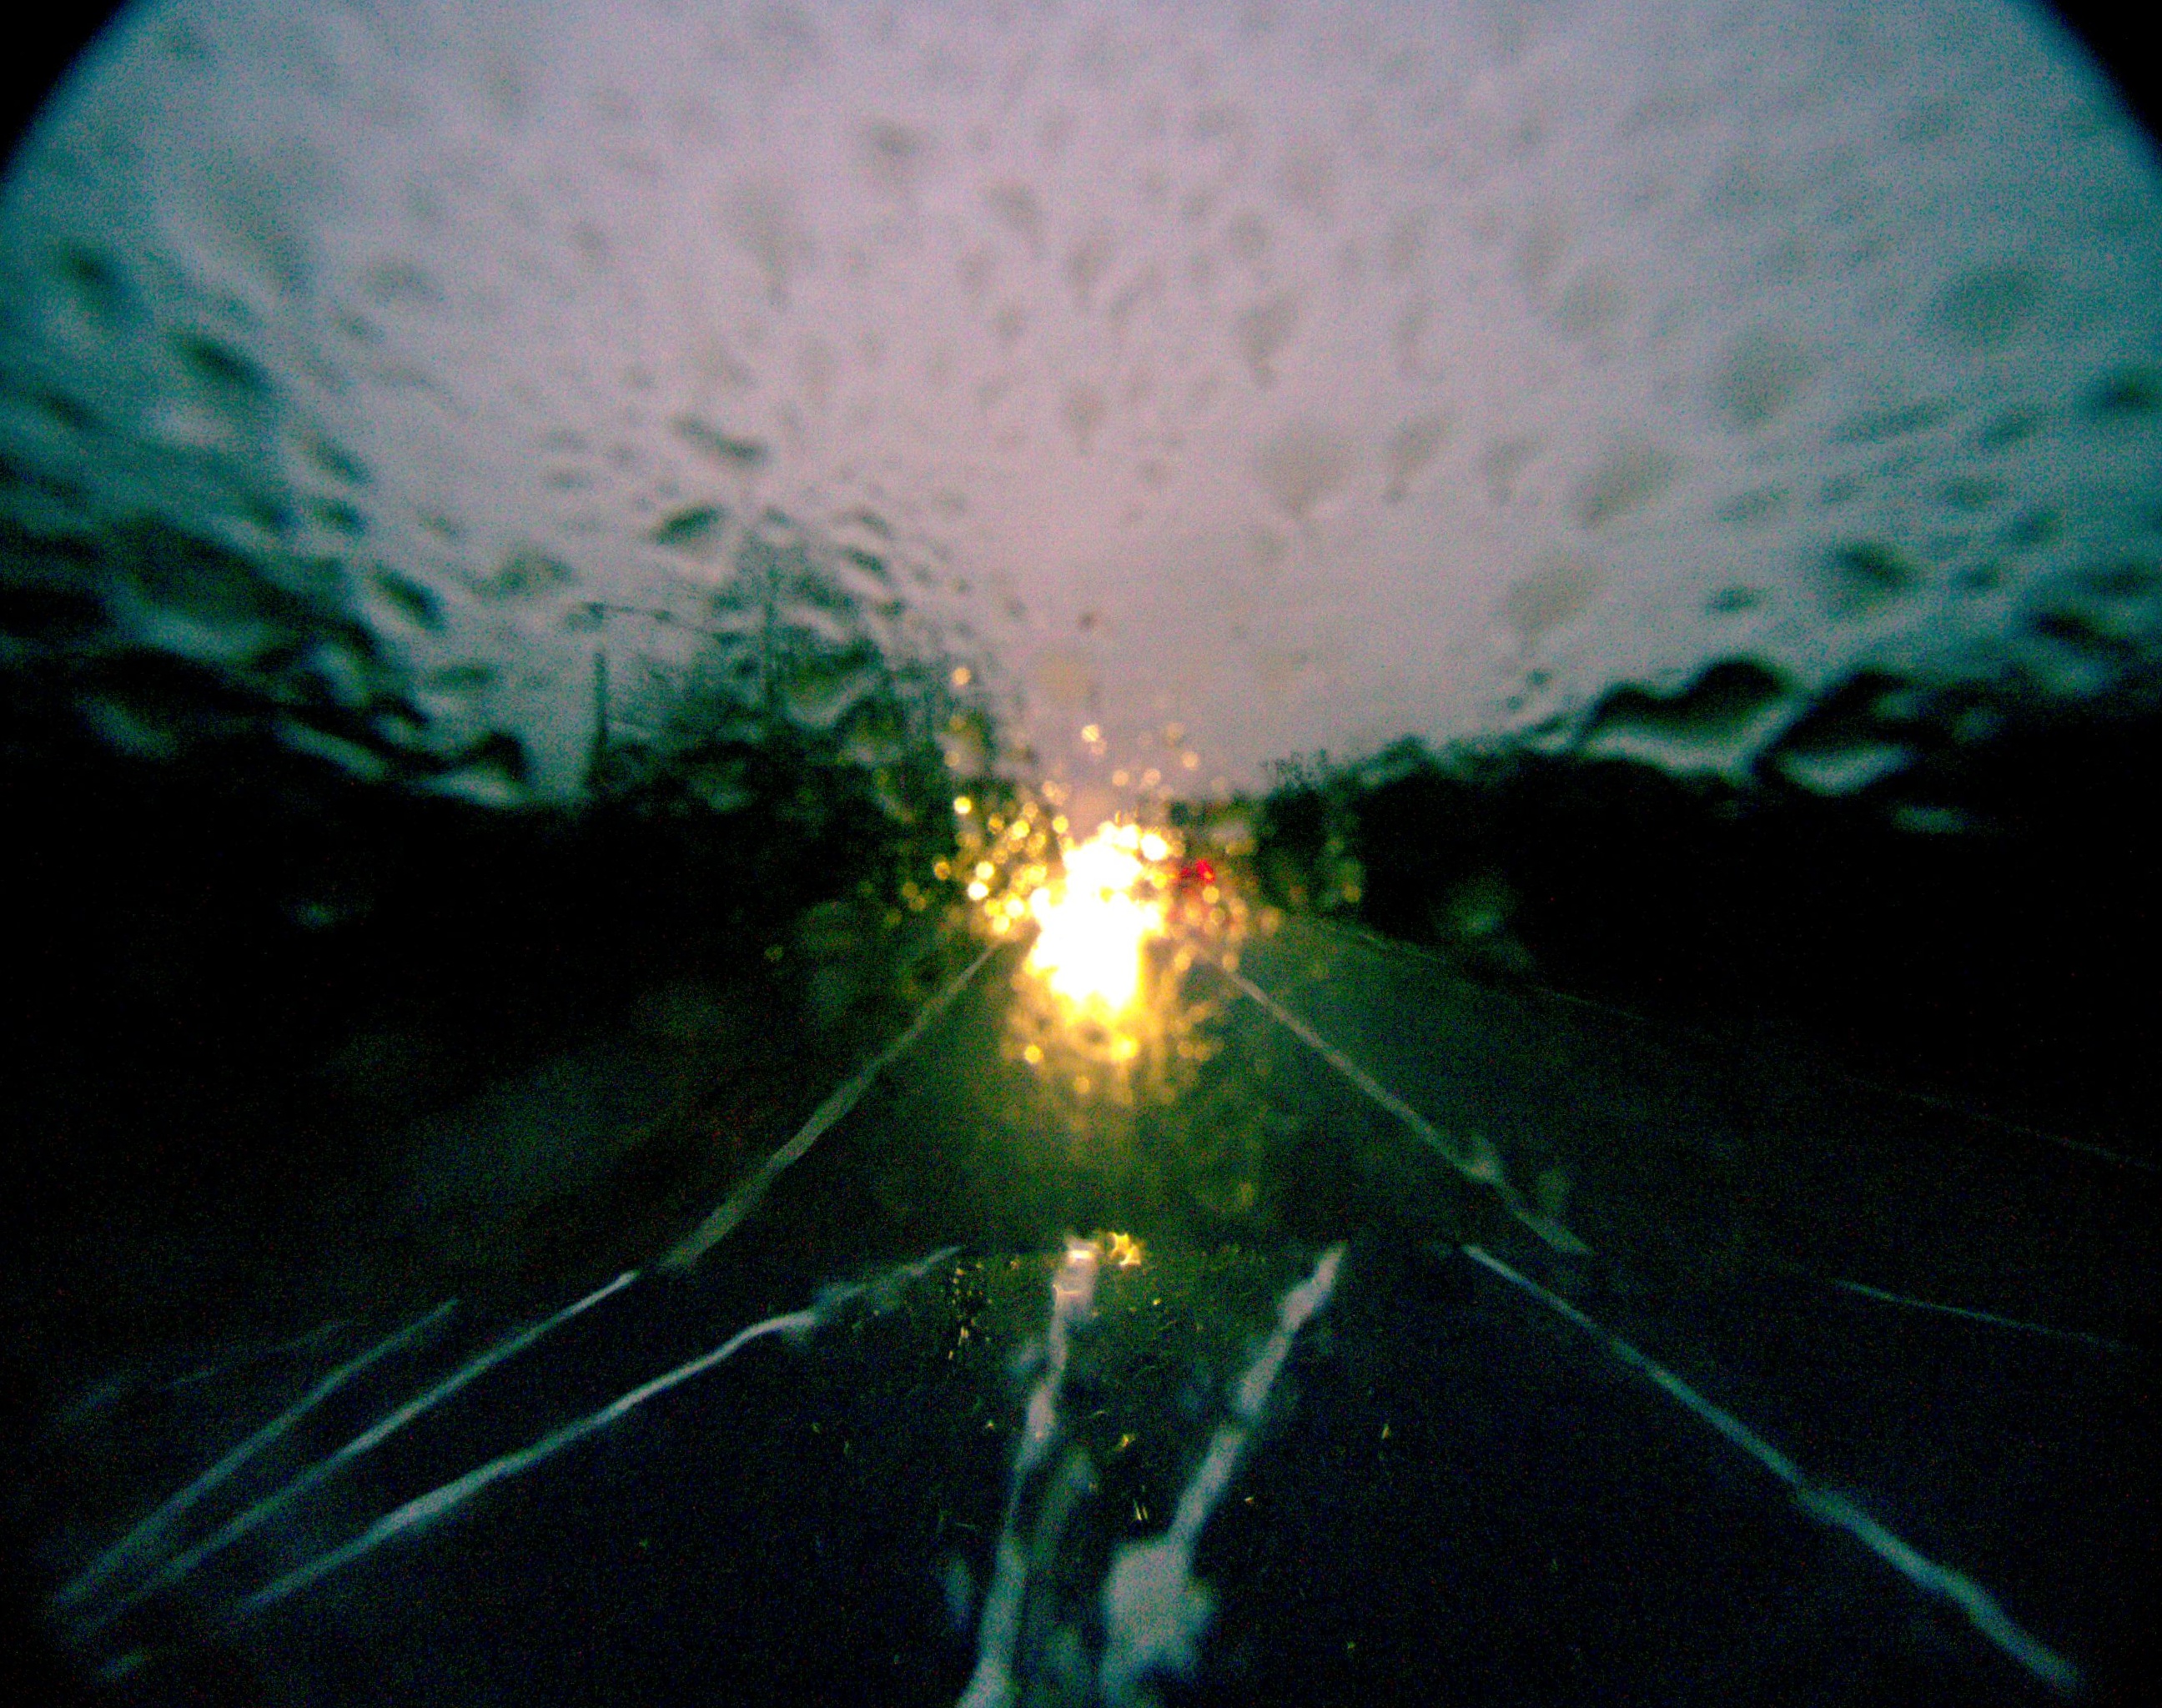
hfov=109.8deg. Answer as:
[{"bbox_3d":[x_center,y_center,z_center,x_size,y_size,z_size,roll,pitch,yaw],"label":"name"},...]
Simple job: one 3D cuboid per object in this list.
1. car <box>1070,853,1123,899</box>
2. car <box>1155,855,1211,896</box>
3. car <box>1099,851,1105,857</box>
[{"bbox_3d":[0.584,0.796,29.440,1.860,1.604,4.000,-1,0,1],"label":"car"},{"bbox_3d":[3.966,0.805,30.006,1.636,1.449,3.982,1,0,0],"label":"car"},{"bbox_3d":[6.038,0.090,217.787,1.771,1.589,3.999,1,0,0],"label":"car"}]
